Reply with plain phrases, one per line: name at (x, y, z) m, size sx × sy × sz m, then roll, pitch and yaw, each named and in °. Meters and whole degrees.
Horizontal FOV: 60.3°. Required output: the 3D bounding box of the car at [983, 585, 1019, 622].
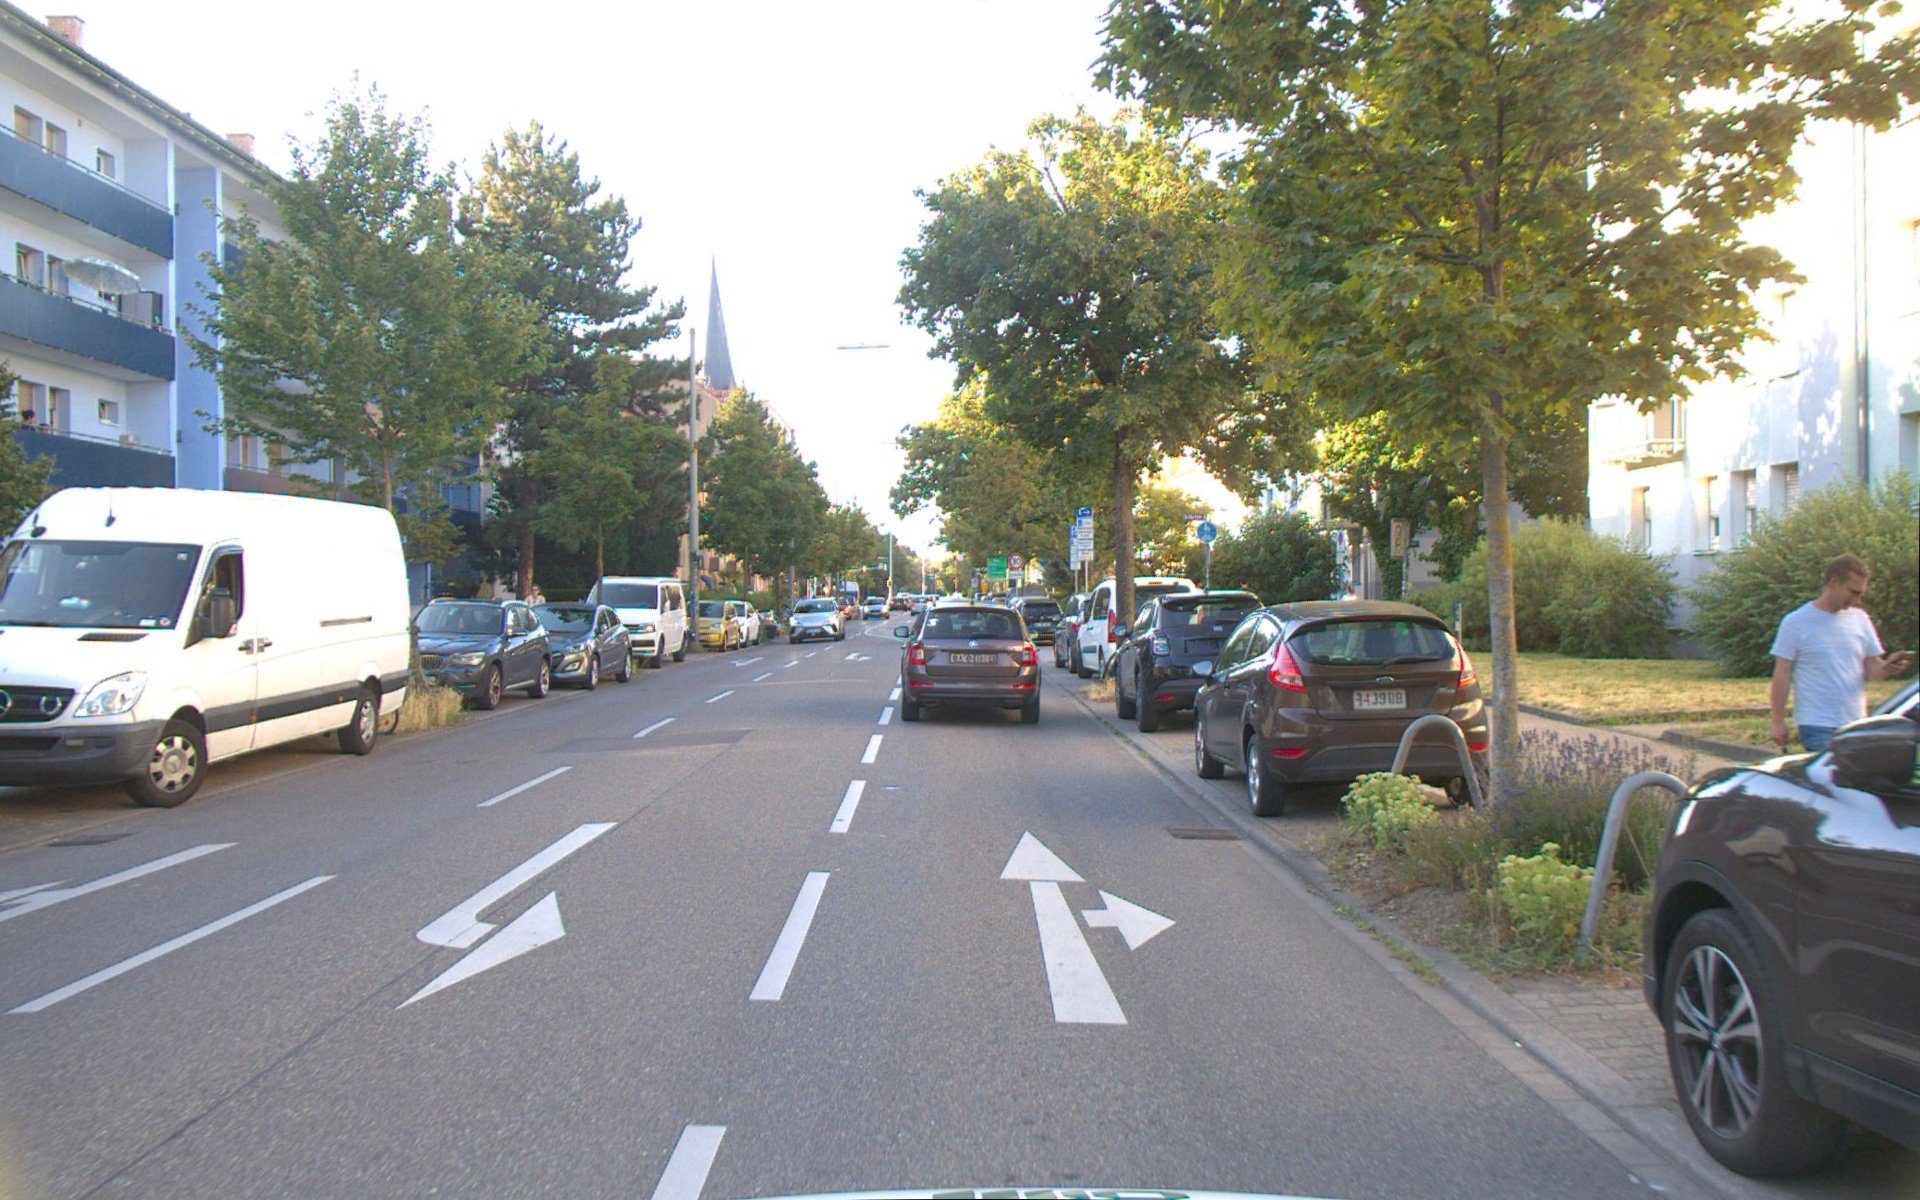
car at (1.996, 0.170, 81.286) m, size 1.718 × 1.745 × 4.000 m, roll 1°, pitch 0°, yaw 1°

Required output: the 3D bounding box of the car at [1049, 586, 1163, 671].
car at (2.941, 0.550, 34.119) m, size 1.719 × 1.584 × 4.250 m, roll -2°, pitch 0°, yaw -3°

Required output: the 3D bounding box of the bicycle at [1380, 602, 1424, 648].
bicycle at (9.592, 0.533, 35.912) m, size 0.465 × 0.961 × 1.680 m, roll -1°, pitch 0°, yaw -1°

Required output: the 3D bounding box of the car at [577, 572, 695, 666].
car at (-7.538, 0.407, 38.938) m, size 1.831 × 2.067 × 5.299 m, roll 0°, pitch 0°, yaw -1°

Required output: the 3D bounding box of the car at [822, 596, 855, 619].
car at (-8.144, 0.484, 111.057) m, size 1.744 × 1.506 × 3.972 m, roll 1°, pitch 0°, yaw 1°

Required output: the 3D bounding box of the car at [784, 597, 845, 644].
car at (-5.104, 0.712, 58.404) m, size 1.744 × 1.520 × 3.971 m, roll -2°, pitch 0°, yaw 0°

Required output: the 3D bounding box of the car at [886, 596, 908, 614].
car at (-6.349, 0.468, 166.091) m, size 1.955 × 1.780 × 3.995 m, roll -1°, pitch 0°, yaw -6°

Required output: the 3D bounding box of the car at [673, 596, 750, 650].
car at (-7.369, 0.651, 49.367) m, size 1.585 × 1.506 × 3.872 m, roll 1°, pitch 0°, yaw 2°

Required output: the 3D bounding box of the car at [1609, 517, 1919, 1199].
car at (2.891, 0.629, 3.086) m, size 1.683 × 1.629 × 4.095 m, roll -1°, pitch 0°, yaw -1°

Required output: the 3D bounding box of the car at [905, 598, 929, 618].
car at (-3.420, 0.648, 132.128) m, size 1.746 × 1.506 × 3.968 m, roll 1°, pitch 0°, yaw -4°

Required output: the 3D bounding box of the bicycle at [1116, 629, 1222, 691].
bicycle at (3.102, 0.891, 24.599) m, size 1.521 × 0.884 × 0.393 m, roll -1°, pitch 0°, yaw -4°

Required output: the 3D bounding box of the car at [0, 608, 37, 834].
car at (-7.278, 0.801, 9.486) m, size 1.672 × 1.518 × 4.058 m, roll 2°, pitch 0°, yaw -1°

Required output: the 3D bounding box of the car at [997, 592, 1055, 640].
car at (2.288, 0.537, 58.371) m, size 1.719 × 1.584 × 4.103 m, roll 1°, pitch 0°, yaw -2°

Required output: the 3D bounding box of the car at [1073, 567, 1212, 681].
car at (3.150, 0.393, 29.365) m, size 1.764 × 1.840 × 4.421 m, roll 1°, pitch 0°, yaw -3°

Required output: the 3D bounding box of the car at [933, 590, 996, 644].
car at (0.100, 0.551, 52.736) m, size 1.854 × 1.533 × 3.788 m, roll 3°, pitch -1°, yaw -1°

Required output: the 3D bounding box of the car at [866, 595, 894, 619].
car at (-5.515, 0.493, 113.788) m, size 1.704 × 1.505 × 4.308 m, roll -4°, pitch 0°, yaw -1°

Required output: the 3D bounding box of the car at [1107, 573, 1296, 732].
car at (2.825, 0.570, 20.176) m, size 1.718 × 1.692 × 4.253 m, roll -2°, pitch 0°, yaw 1°

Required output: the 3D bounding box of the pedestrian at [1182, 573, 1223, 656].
pedestrian at (5.653, 0.323, 38.570) m, size 0.733 × 1.893 × 1.068 m, roll -1°, pitch 0°, yaw -1°

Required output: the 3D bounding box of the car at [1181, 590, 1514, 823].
car at (2.836, 0.698, 12.942) m, size 1.580 × 1.492 × 3.958 m, roll -2°, pitch 0°, yaw -1°

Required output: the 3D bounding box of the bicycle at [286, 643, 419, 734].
bicycle at (-7.249, 1.052, 19.755) m, size 1.441 × 1.032 × 0.440 m, roll 1°, pitch 0°, yaw 7°

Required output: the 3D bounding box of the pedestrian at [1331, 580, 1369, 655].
pedestrian at (9.306, 0.412, 39.487) m, size 0.781 × 1.752 × 0.745 m, roll -1°, pitch 0°, yaw 8°

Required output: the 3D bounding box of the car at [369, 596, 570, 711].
car at (-7.333, 0.732, 25.175) m, size 1.637 × 1.570 × 4.474 m, roll -1°, pitch 0°, yaw 1°

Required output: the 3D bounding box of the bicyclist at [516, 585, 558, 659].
bicyclist at (-9.452, 0.488, 36.978) m, size 0.590 × 1.621 × 0.940 m, roll -1°, pitch 0°, yaw 7°

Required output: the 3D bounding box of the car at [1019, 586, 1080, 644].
car at (2.781, 0.459, 52.137) m, size 1.718 × 1.716 × 4.253 m, roll 1°, pitch 0°, yaw 1°

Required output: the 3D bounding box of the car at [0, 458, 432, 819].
car at (-7.142, 0.265, 15.791) m, size 1.953 × 2.662 × 7.104 m, roll 1°, pitch 0°, yaw -1°

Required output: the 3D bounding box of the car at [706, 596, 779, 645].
car at (-7.131, 0.641, 54.520) m, size 1.744 × 1.520 × 3.972 m, roll 1°, pitch 0°, yaw 1°

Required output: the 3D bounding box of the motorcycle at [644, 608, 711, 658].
motorcycle at (-7.473, 0.852, 43.882) m, size 0.645 × 1.225 × 2.332 m, roll -1°, pitch 1°, yaw 20°

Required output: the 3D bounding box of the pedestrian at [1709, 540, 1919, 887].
pedestrian at (4.493, 0.568, 8.696) m, size 0.771 × 1.730 × 0.808 m, roll 0°, pitch -1°, yaw 4°

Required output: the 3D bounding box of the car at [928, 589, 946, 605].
car at (-2.457, -0.321, 176.223) m, size 1.613 × 1.627 × 3.645 m, roll -1°, pitch 0°, yaw -6°

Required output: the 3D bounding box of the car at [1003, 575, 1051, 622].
car at (2.743, -0.069, 68.621) m, size 1.877 × 1.893 × 5.633 m, roll 0°, pitch 0°, yaw 1°

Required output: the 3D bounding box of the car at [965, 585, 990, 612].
car at (1.214, -0.087, 116.921) m, size 1.718 × 1.837 × 4.000 m, roll 1°, pitch 0°, yaw 0°

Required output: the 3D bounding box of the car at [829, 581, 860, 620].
car at (-8.612, 0.040, 123.616) m, size 1.951 × 2.830 × 5.502 m, roll 1°, pitch 0°, yaw -1°

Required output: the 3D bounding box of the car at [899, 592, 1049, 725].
car at (0.203, 0.674, 21.211) m, size 1.718 × 1.518 × 4.000 m, roll 1°, pitch 0°, yaw 1°

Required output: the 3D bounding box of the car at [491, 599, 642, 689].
car at (-7.108, 0.744, 30.283) m, size 1.657 × 1.509 × 4.144 m, roll 0°, pitch 0°, yaw 2°

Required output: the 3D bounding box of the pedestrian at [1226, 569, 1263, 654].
pedestrian at (6.525, 0.256, 37.917) m, size 0.781 × 1.893 × 0.951 m, roll -1°, pitch 0°, yaw 10°
